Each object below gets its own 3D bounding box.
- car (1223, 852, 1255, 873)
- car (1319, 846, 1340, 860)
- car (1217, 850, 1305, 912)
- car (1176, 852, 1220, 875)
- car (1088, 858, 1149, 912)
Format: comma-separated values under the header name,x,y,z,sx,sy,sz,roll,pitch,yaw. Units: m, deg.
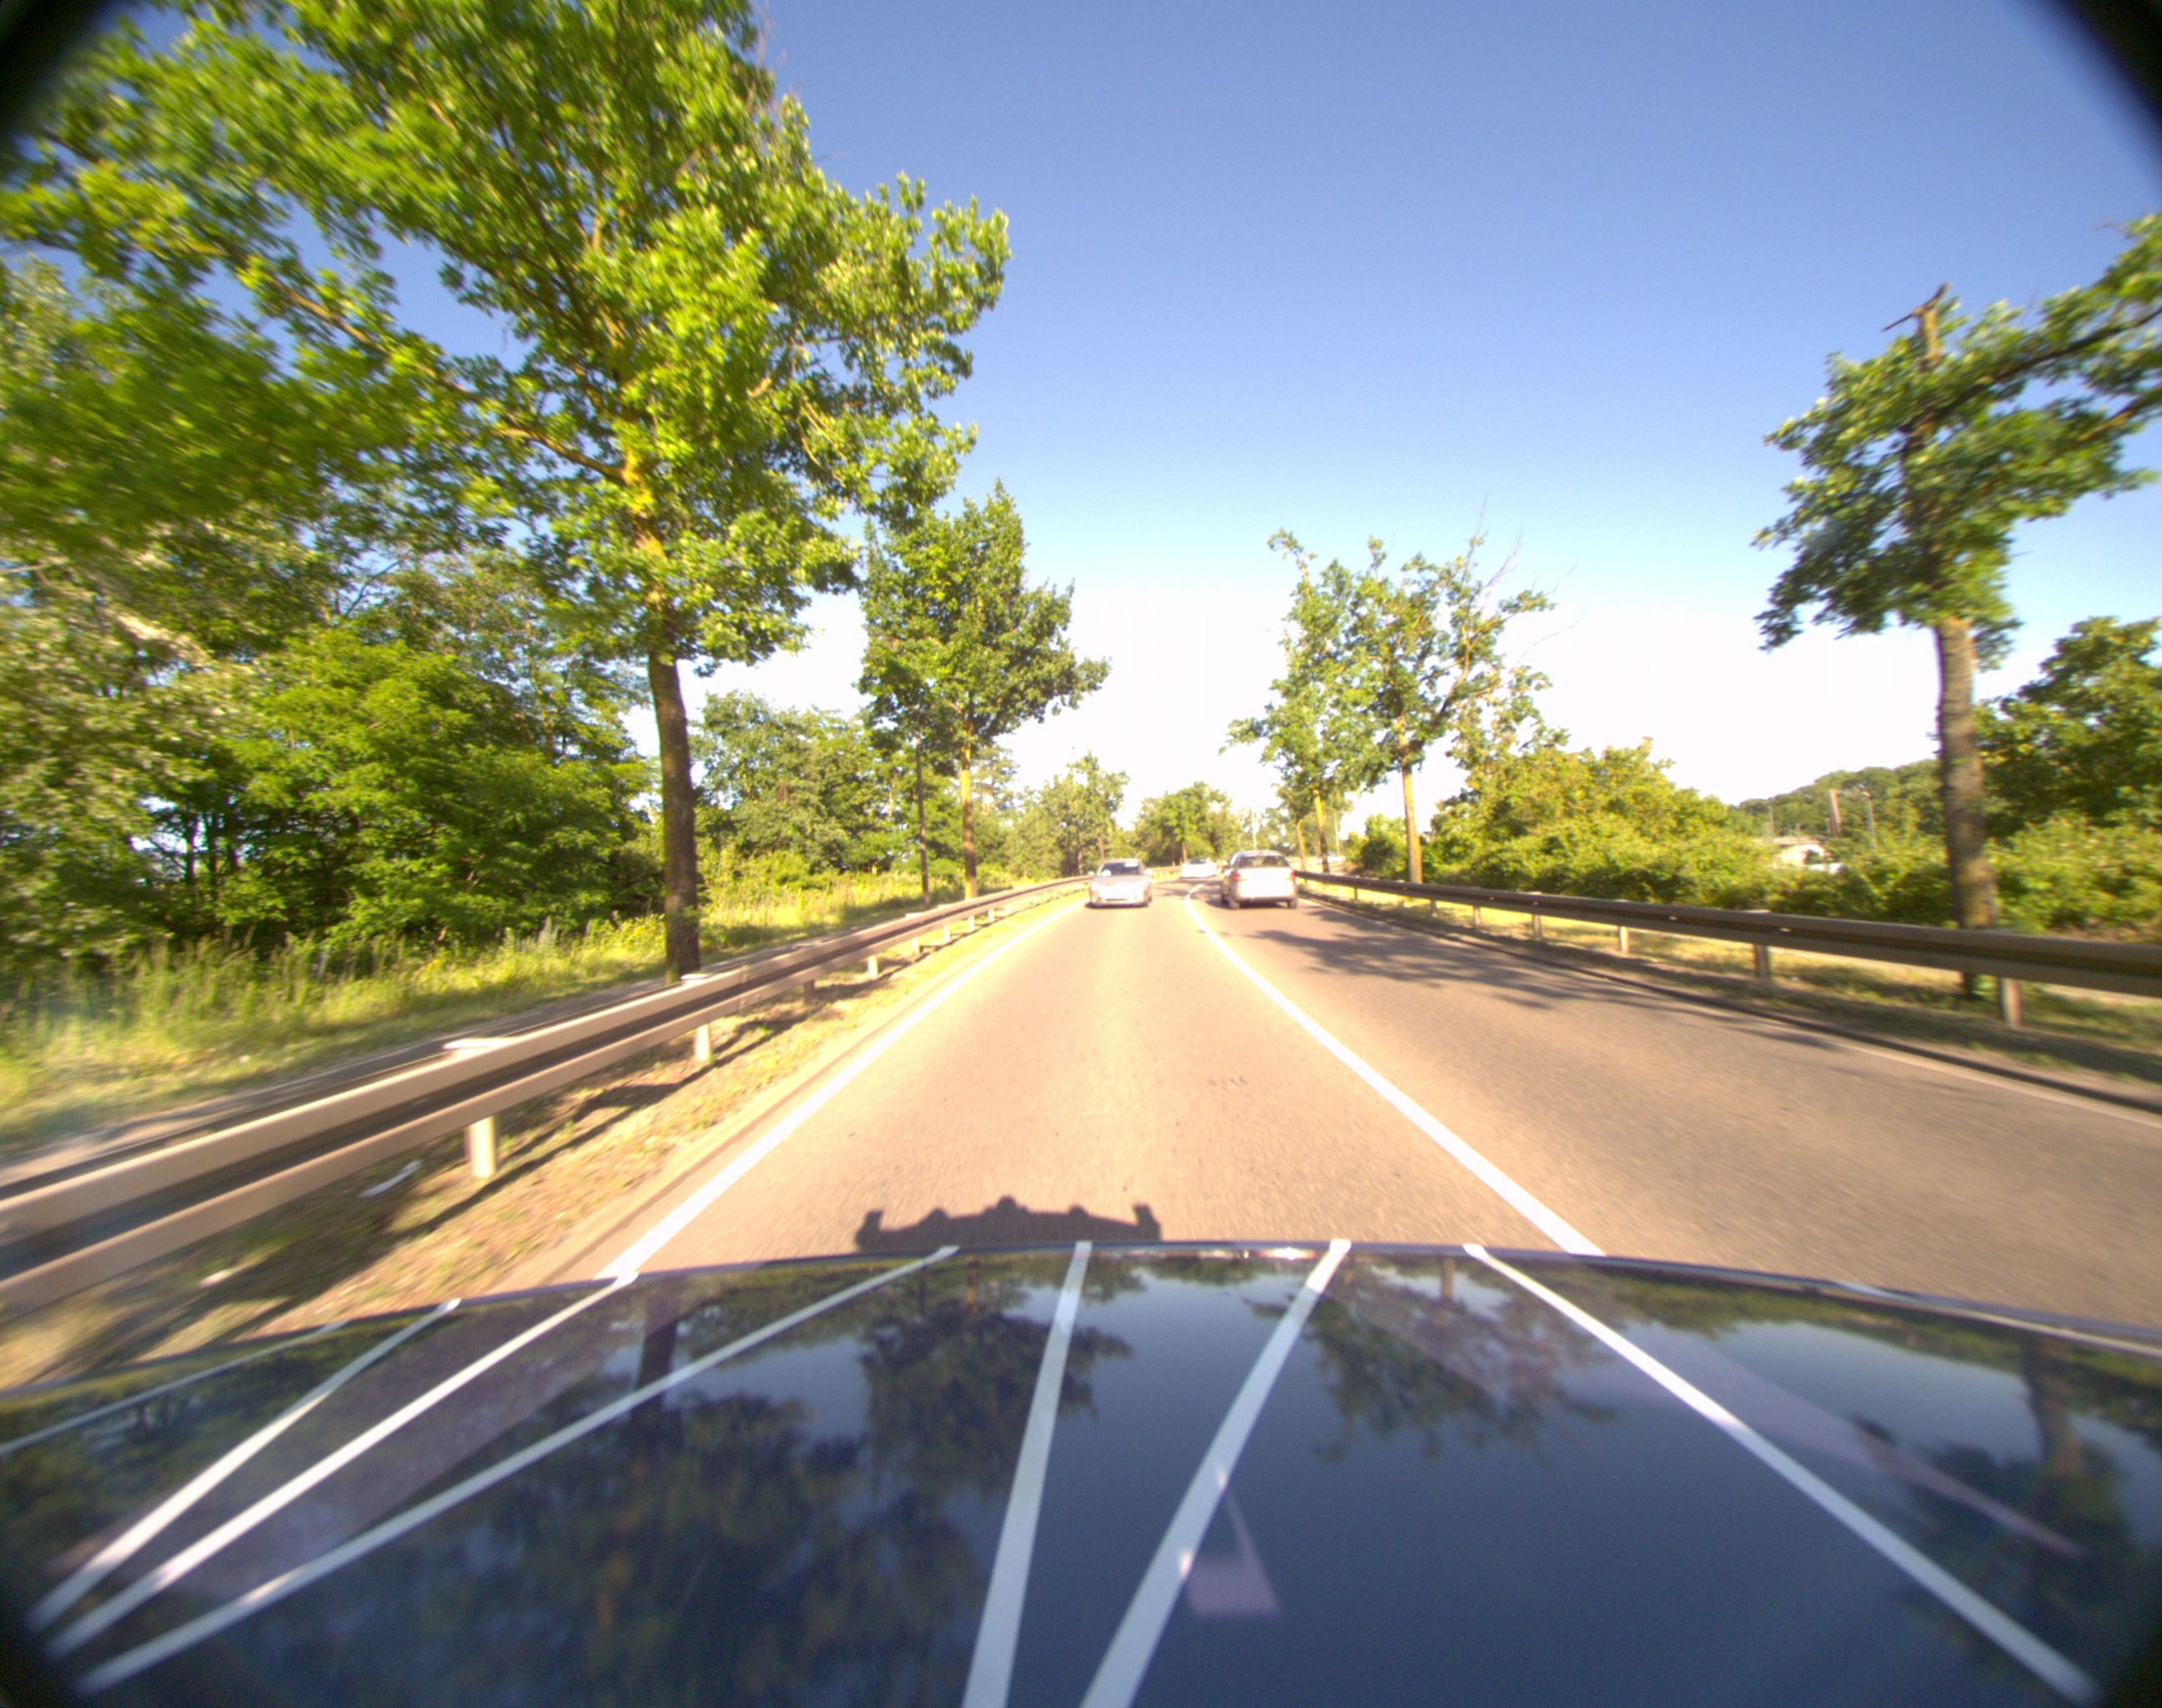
name,x,y,z,sx,sy,sz,roll,pitch,yaw
car,13.926,0.720,66.946,1.680,1.694,3.612,-2,0,30
car,28.210,-0.168,86.126,1.696,1.509,3.988,-2,0,26
car,5.026,0.699,21.776,1.813,1.545,4.142,-2,0,5
car,8.432,0.662,54.413,2.146,1.558,4.204,-1,0,22
car,1.201,0.897,23.497,1.682,1.433,3.859,-3,0,4
